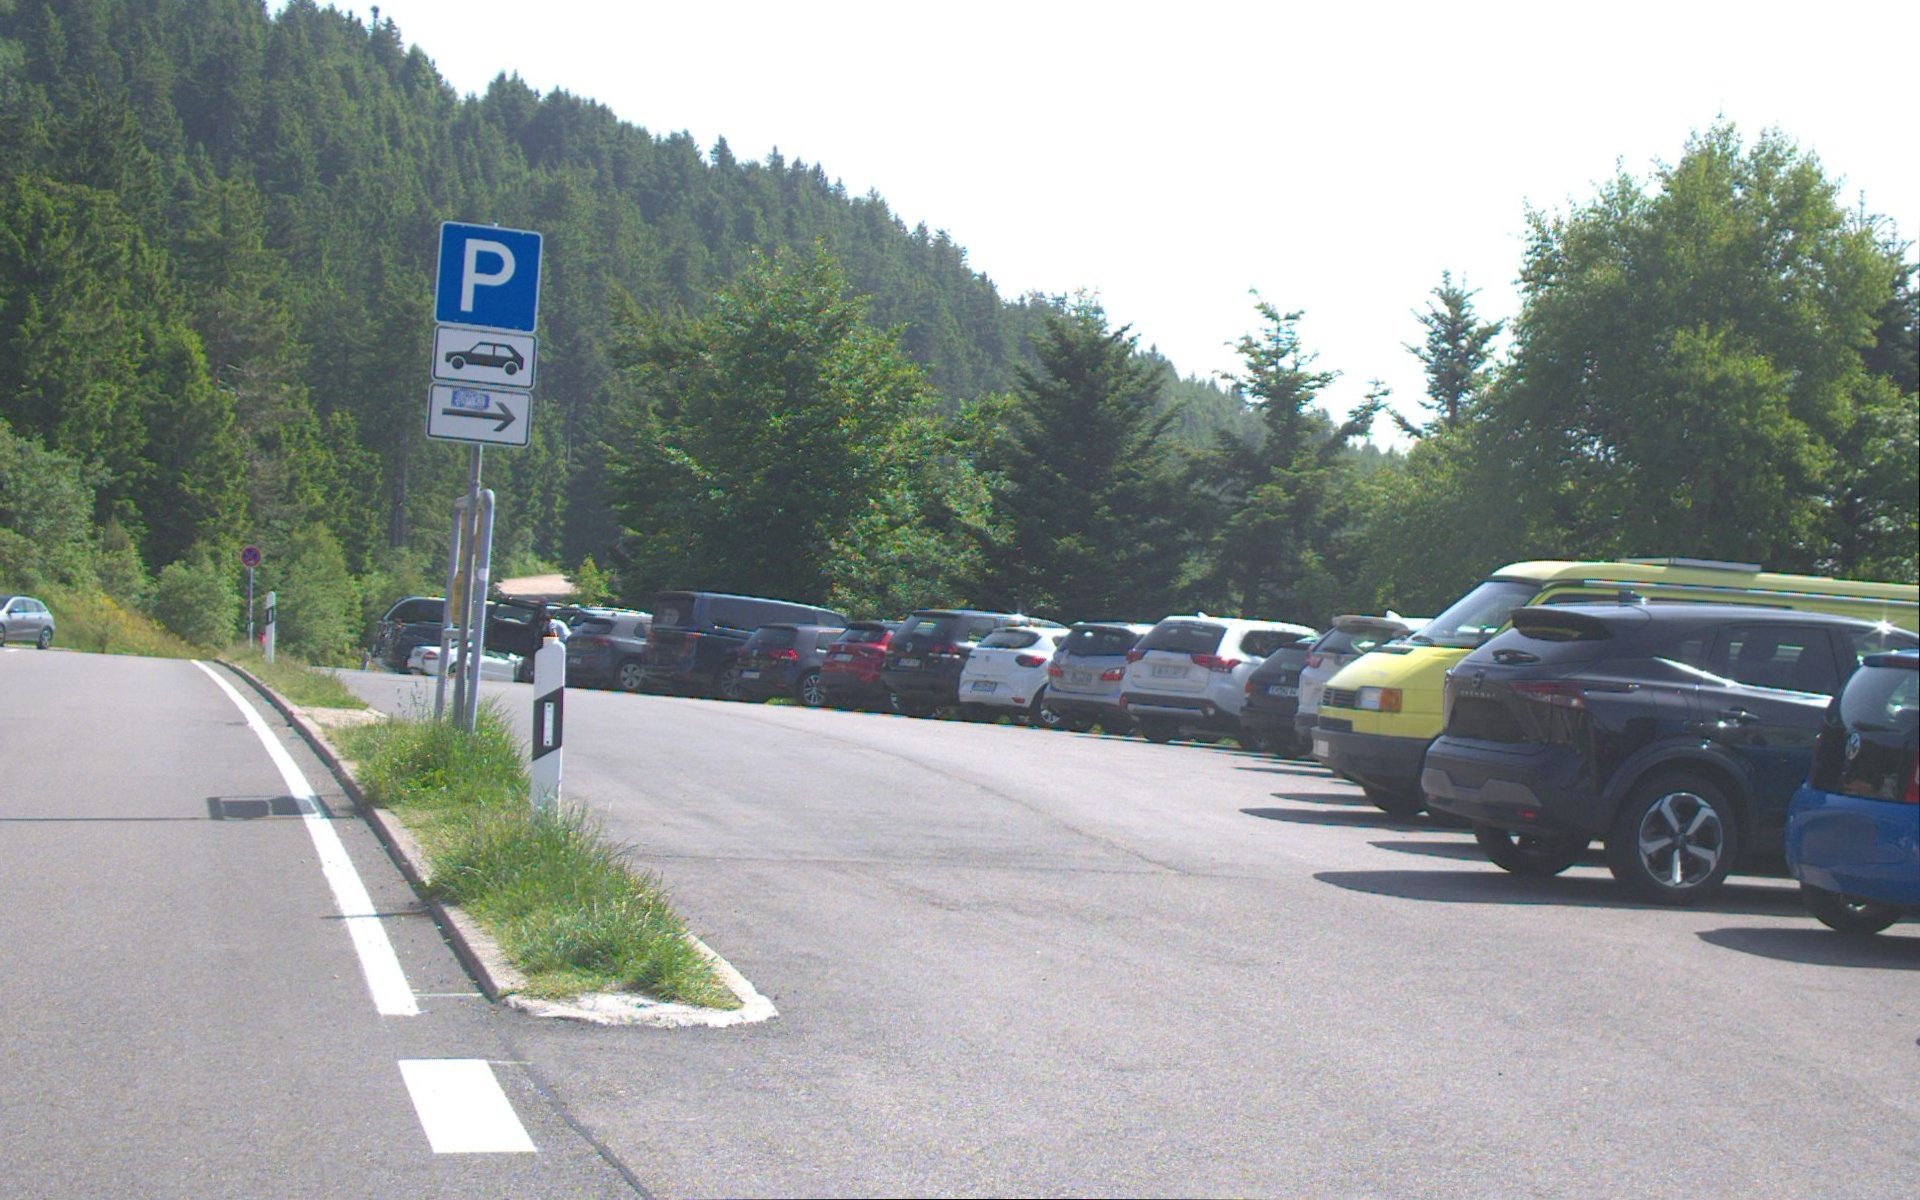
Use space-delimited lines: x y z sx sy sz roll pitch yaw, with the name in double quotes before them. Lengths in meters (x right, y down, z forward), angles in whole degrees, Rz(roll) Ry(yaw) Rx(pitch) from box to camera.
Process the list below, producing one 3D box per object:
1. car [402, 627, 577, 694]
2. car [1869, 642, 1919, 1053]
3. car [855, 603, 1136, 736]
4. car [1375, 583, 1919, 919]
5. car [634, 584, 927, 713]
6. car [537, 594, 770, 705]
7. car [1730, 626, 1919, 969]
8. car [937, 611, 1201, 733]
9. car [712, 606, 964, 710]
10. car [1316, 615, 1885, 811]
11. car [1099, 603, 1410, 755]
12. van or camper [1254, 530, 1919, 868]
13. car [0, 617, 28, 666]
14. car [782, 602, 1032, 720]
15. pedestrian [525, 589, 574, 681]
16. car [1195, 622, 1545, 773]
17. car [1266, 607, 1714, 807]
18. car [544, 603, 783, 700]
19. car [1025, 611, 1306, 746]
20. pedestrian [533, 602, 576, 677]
"car" -13.139 1.685 96.048 4.452 1.294 1.582 8 -3 -28
"car" 5.668 1.087 12.819 3.985 1.504 1.843 5 0 -22
"car" 0.600 1.098 53.447 1.989 1.689 4.263 4 -2 40
"car" 4.592 0.862 19.188 3.985 1.608 1.917 4 0 -17
"car" -3.207 0.882 61.902 4.757 1.873 1.966 6 -2 -31
"car" -6.024 0.981 67.757 3.987 1.656 1.999 9 -4 -39
"car" 5.822 1.050 16.714 3.580 1.490 1.648 5 0 -11
"car" 1.673 1.102 51.539 1.766 1.471 3.990 4 -2 40
"car" -2.076 1.004 59.209 3.988 1.410 1.744 6 -2 -40
"car" 5.415 0.949 29.211 4.349 1.482 1.813 2 1 -15
"car" 3.921 1.060 45.180 1.862 1.689 4.216 4 -1 40
"van or camper" 4.965 0.734 25.357 5.089 2.007 1.883 5 0 -10
"car" -29.233 1.209 100.977 1.583 1.424 3.365 2 1 31
"car" -0.846 1.031 56.970 1.862 1.584 3.990 4 -2 40
"pedestrian" -8.142 0.699 68.132 0.579 1.755 0.632 5 -3 19
"car" 5.020 1.200 41.780 4.039 1.456 1.894 6 -2 -41
"car" 5.424 1.098 35.016 4.171 1.644 1.892 6 -2 -32
"car" -5.584 0.973 64.907 3.987 1.438 1.840 6 -2 -33
"car" 2.942 1.124 48.495 1.819 1.544 3.990 4 -2 40
"pedestrian" -7.779 0.764 66.023 0.773 1.398 0.669 2 1 -6
